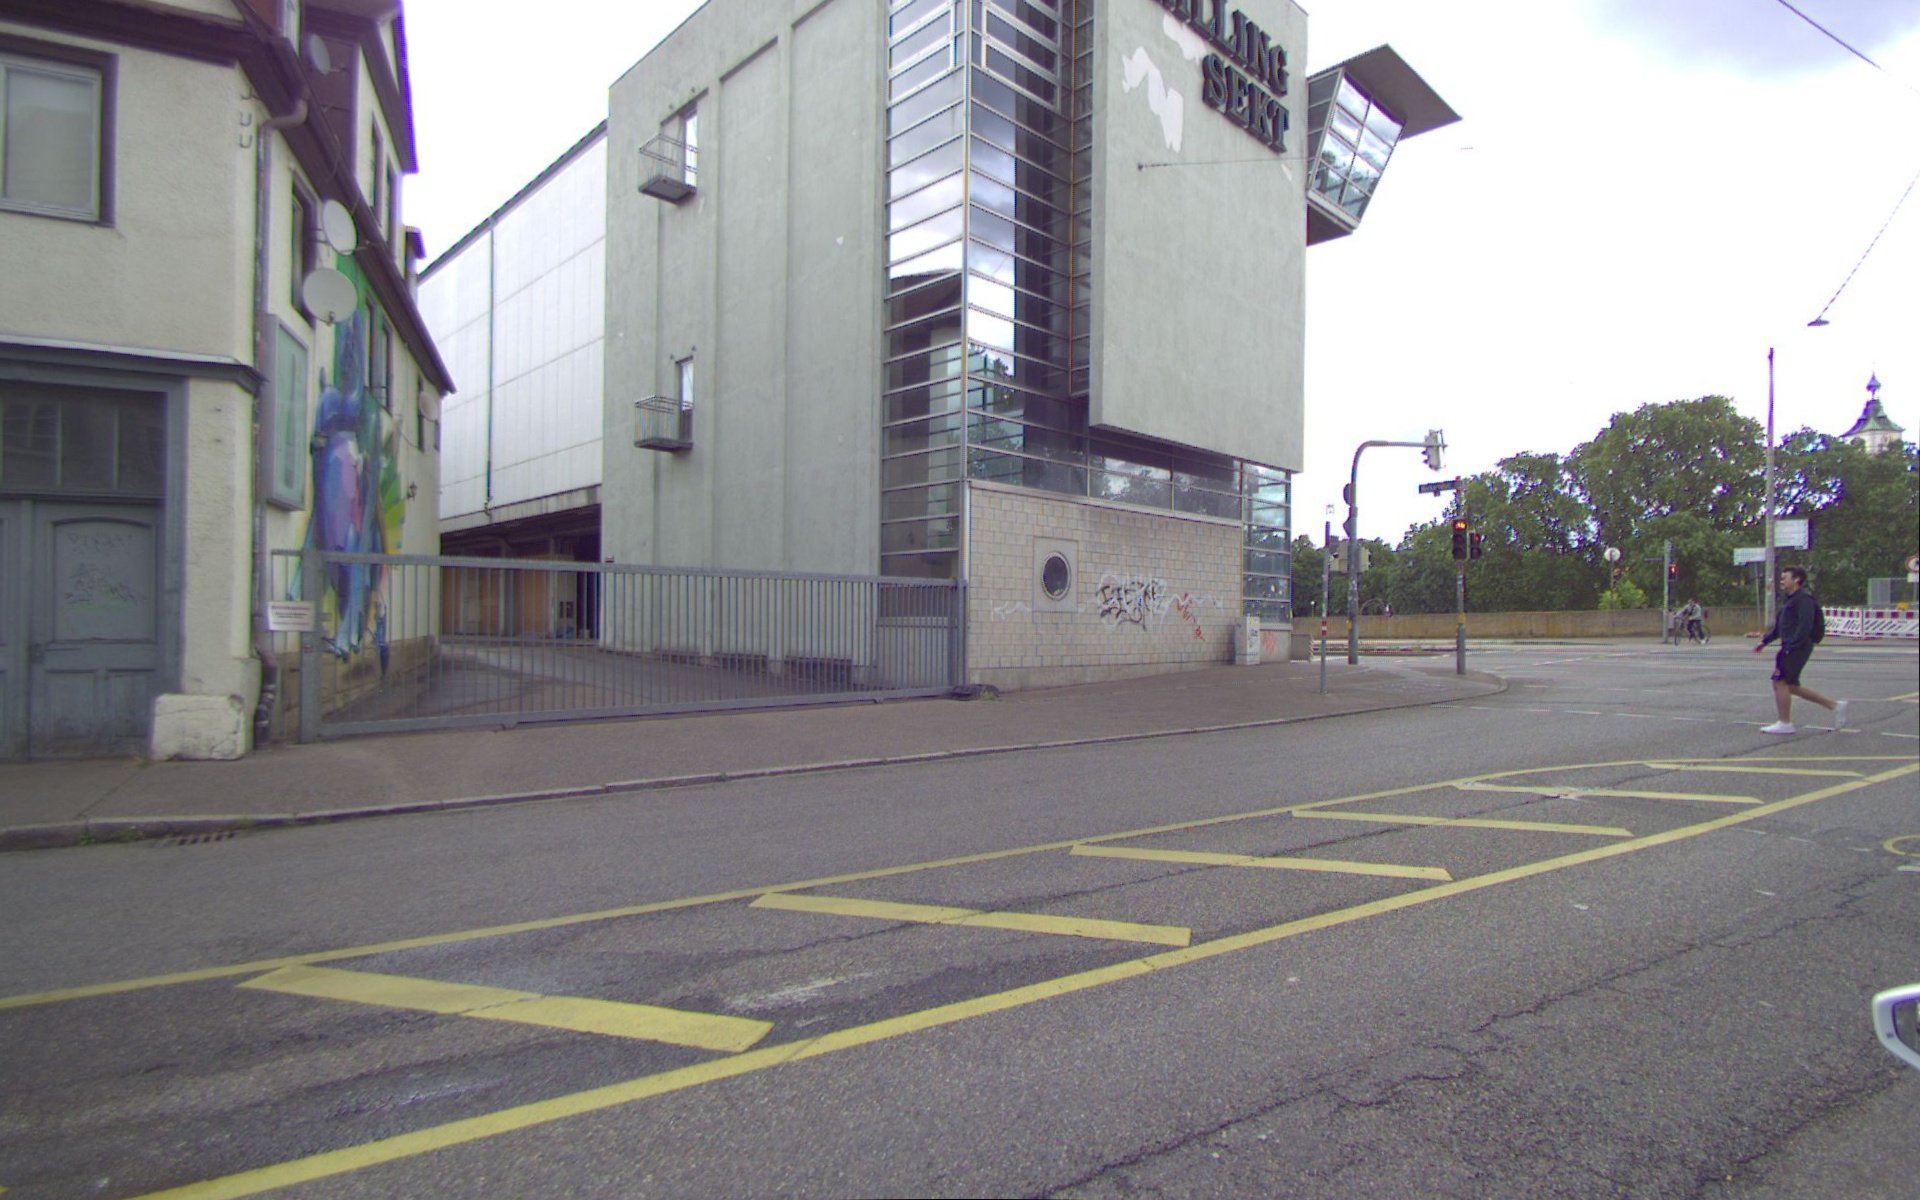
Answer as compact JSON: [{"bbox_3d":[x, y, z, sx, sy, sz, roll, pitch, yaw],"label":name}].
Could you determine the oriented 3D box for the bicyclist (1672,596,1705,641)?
[{"bbox_3d":[28.048,0.724,38.684,0.794,1.723,0.726,0,-1,9],"label":"bicyclist"}]

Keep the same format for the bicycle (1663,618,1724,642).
[{"bbox_3d":[28.220,1.157,38.669,1.842,0.904,0.543,0,-1,9],"label":"bicycle"}]

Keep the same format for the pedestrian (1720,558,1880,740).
[{"bbox_3d":[9.445,0.507,11.310,1.045,1.911,1.083,-1,1,-30],"label":"pedestrian"}]
